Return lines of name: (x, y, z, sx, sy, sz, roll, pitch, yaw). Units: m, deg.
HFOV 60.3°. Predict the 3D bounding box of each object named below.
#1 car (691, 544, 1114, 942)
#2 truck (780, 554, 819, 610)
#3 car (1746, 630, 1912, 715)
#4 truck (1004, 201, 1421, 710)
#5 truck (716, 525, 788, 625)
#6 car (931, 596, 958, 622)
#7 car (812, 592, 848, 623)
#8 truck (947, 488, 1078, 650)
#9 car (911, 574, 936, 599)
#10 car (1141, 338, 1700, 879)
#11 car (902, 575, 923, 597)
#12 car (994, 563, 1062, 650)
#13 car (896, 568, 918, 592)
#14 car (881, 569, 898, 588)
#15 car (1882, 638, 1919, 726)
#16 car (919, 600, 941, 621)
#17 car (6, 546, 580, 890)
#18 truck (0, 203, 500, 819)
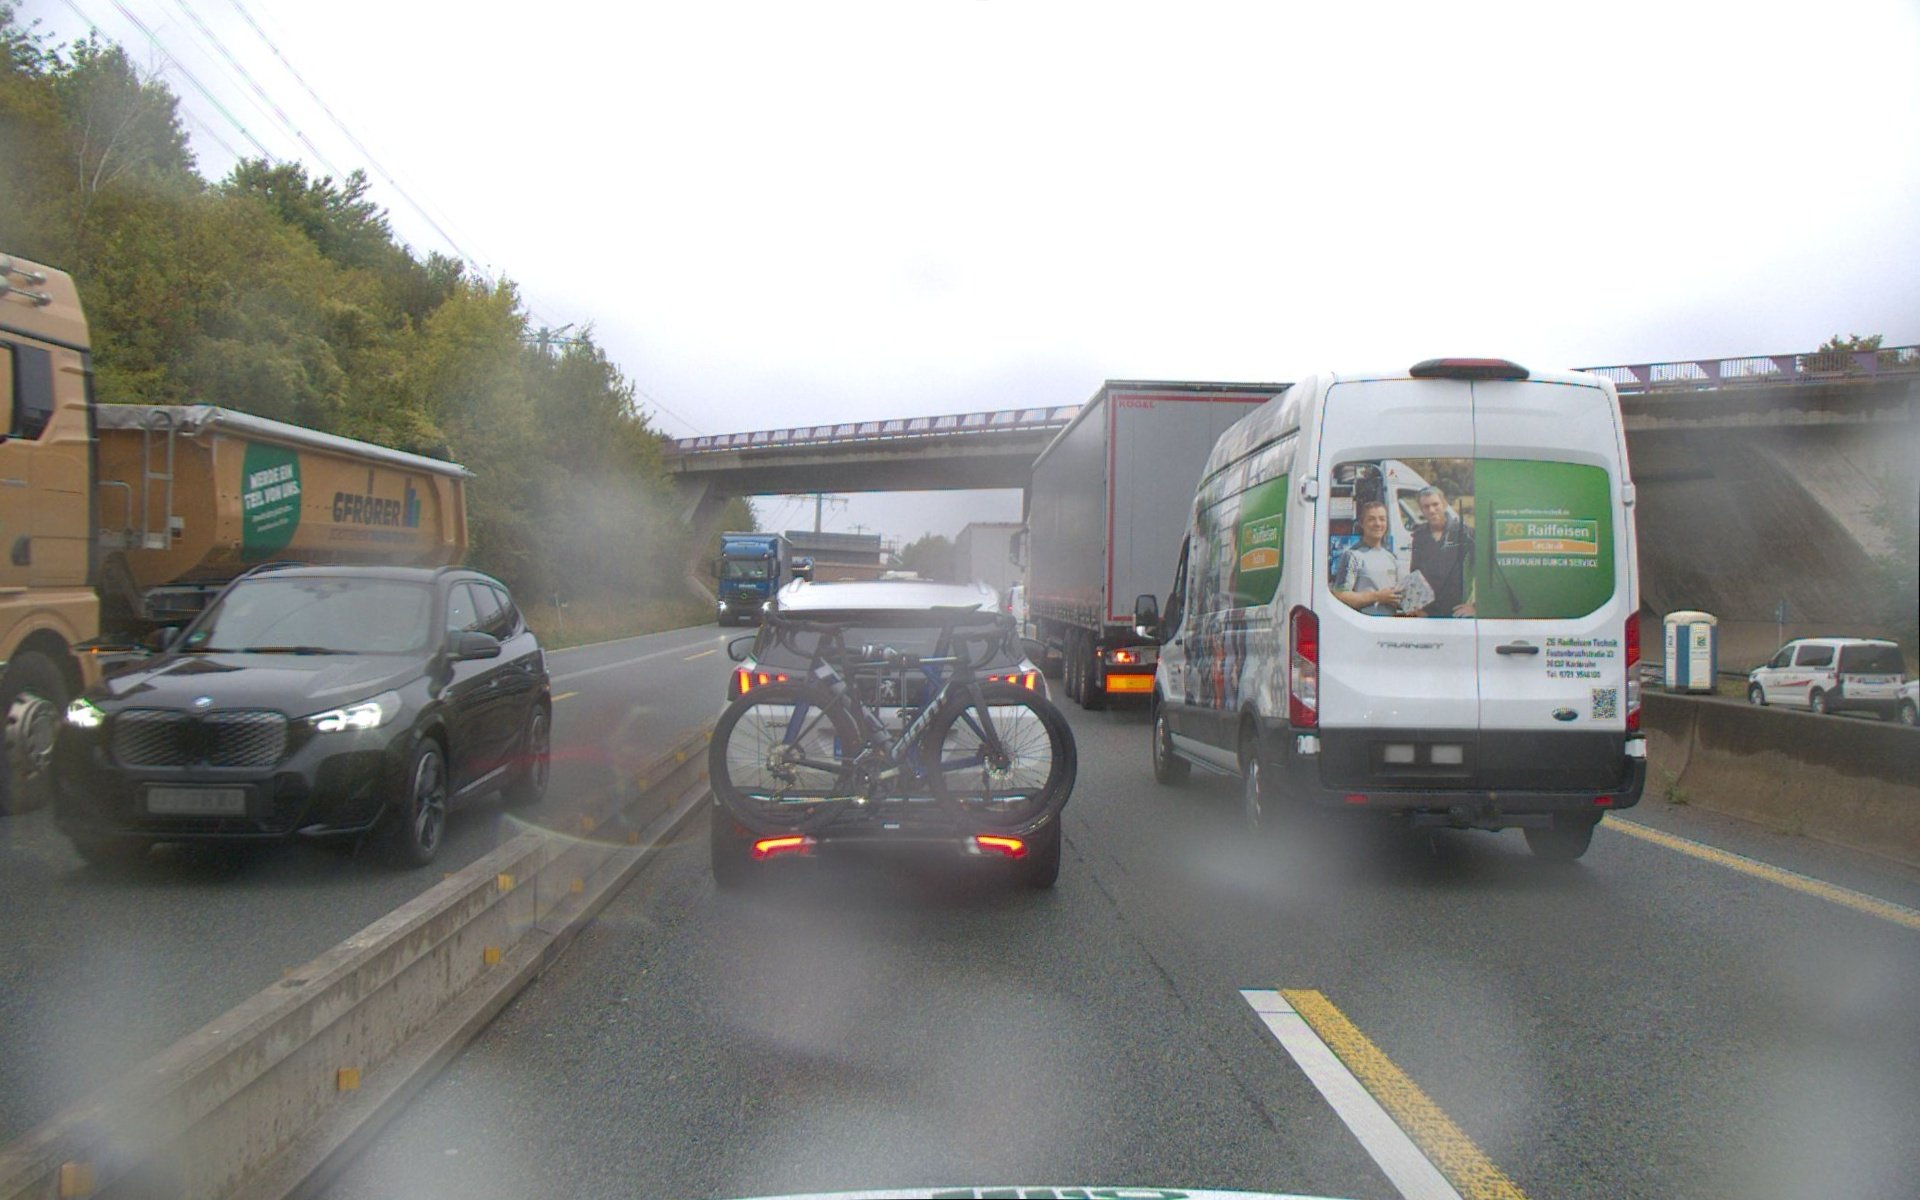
car: (-0.236, 0.618, 9.351, 1.773, 1.666, 4.635, 1, 0, 0)
truck: (-12.346, -1.320, 127.887, 2.414, 4.195, 10.083, 1, 0, -2)
car: (20.535, 1.670, 39.273, 1.809, 1.840, 4.157, 1, 0, 1)
truck: (3.170, -1.611, 29.121, 3.899, 5.772, 20.371, 1, 0, -1)
truck: (-9.620, -1.025, 78.046, 2.712, 4.195, 16.908, 1, 0, -5)
car: (-0.956, 0.559, 100.071, 1.605, 1.524, 3.665, 1, 0, -1)
car: (-7.050, 0.425, 90.229, 1.748, 1.638, 4.102, 1, 0, -2)
truck: (1.922, -1.076, 69.955, 4.646, 5.772, 20.375, 1, 0, 0)
car: (-3.102, -1.099, 140.822, 1.954, 2.049, 3.997, 1, 0, -3)
car: (2.684, 0.057, 11.479, 2.101, 2.723, 6.116, 1, 0, -1)
car: (-4.523, -1.350, 158.989, 1.953, 2.049, 3.999, 1, 0, -1)
car: (1.801, 0.179, 45.000, 1.635, 2.218, 4.534, 1, 0, 0)
car: (-5.494, -2.074, 171.547, 2.194, 2.348, 4.571, 1, 0, -1)
car: (-8.558, -2.583, 200.320, 1.953, 2.164, 4.526, 1, 0, -1)
car: (20.458, 1.696, 33.179, 1.693, 1.776, 4.124, 1, 0, 1)
car: (-2.255, 0.771, 125.495, 1.605, 1.524, 3.665, 1, 0, -1)
car: (-3.682, 0.580, 10.039, 1.896, 1.635, 4.118, 1, 0, -2)
truck: (-7.194, -0.531, 15.183, 2.627, 3.720, 12.309, 1, 0, -1)
